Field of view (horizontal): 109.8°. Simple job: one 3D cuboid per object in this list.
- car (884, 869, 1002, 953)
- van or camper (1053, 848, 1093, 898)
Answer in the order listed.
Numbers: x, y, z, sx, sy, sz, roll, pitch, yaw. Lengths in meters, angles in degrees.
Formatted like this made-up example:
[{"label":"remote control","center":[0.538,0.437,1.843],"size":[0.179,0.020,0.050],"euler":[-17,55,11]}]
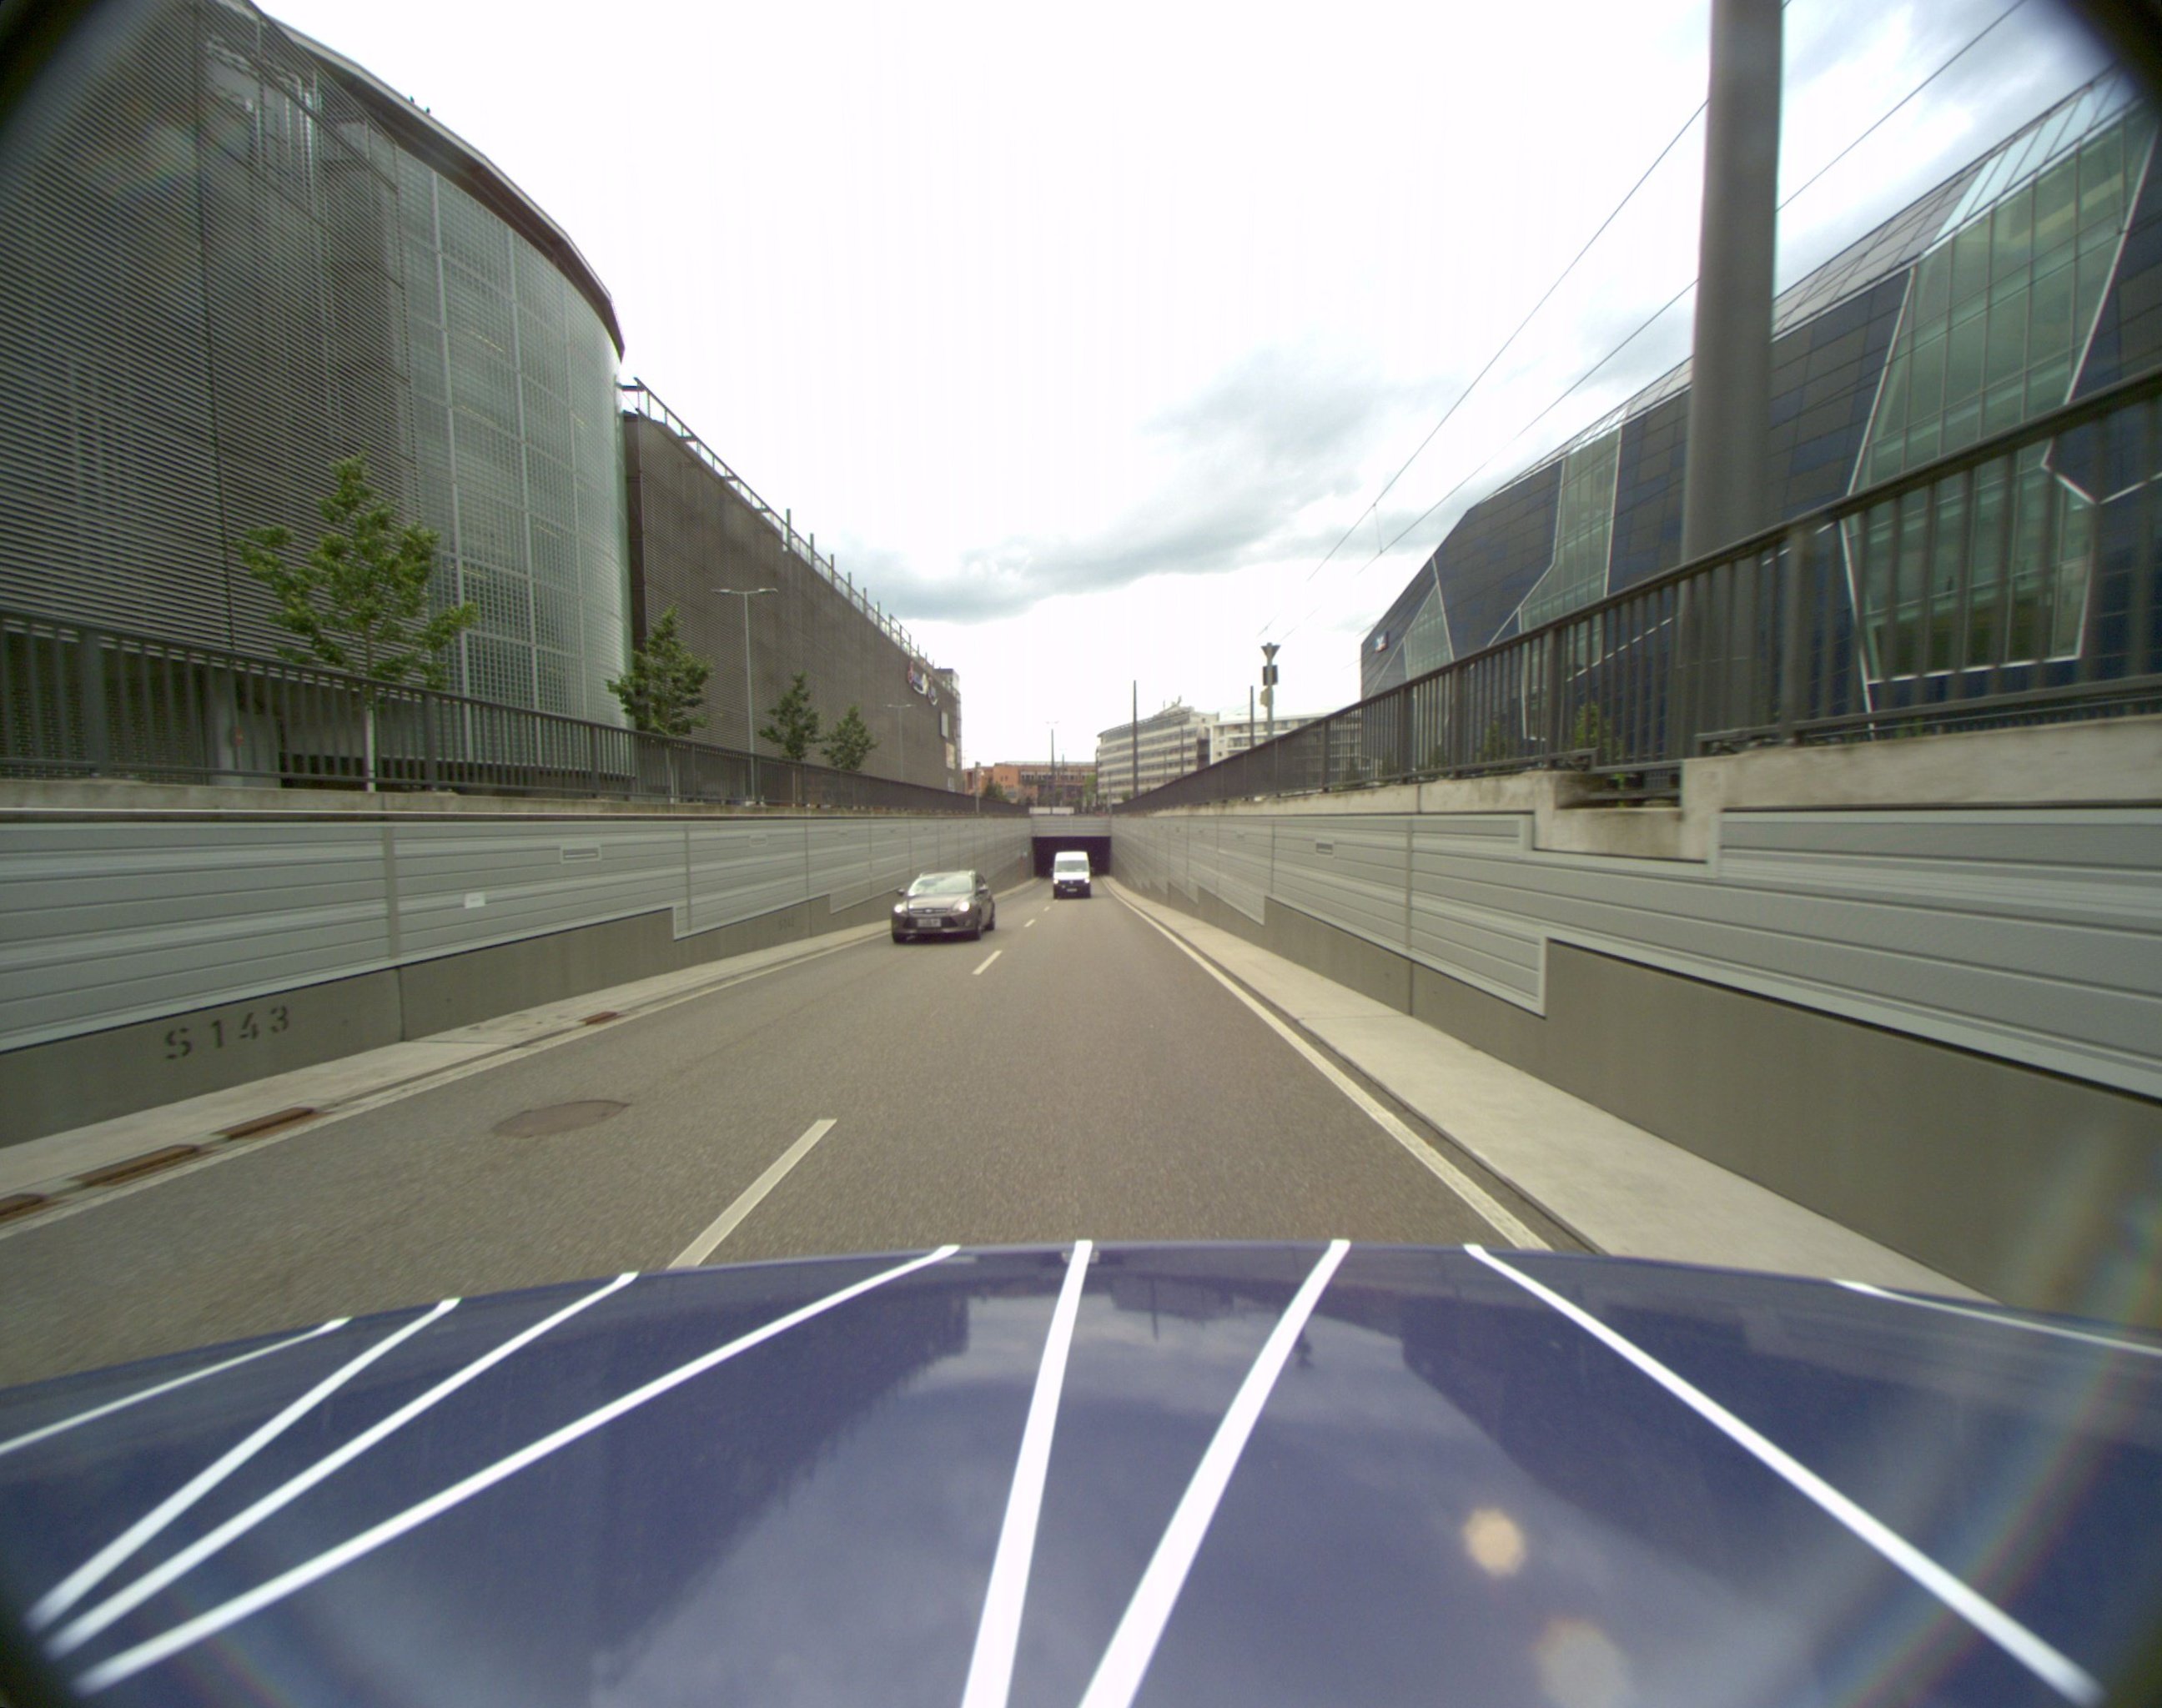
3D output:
[{"label":"car","center":[-2.932,1.164,17.001],"size":[1.752,1.490,4.268],"euler":[-1,0,1]},{"label":"van or camper","center":[-0.416,1.073,42.189],"size":[2.043,2.571,5.043],"euler":[-1,-2,0]}]
